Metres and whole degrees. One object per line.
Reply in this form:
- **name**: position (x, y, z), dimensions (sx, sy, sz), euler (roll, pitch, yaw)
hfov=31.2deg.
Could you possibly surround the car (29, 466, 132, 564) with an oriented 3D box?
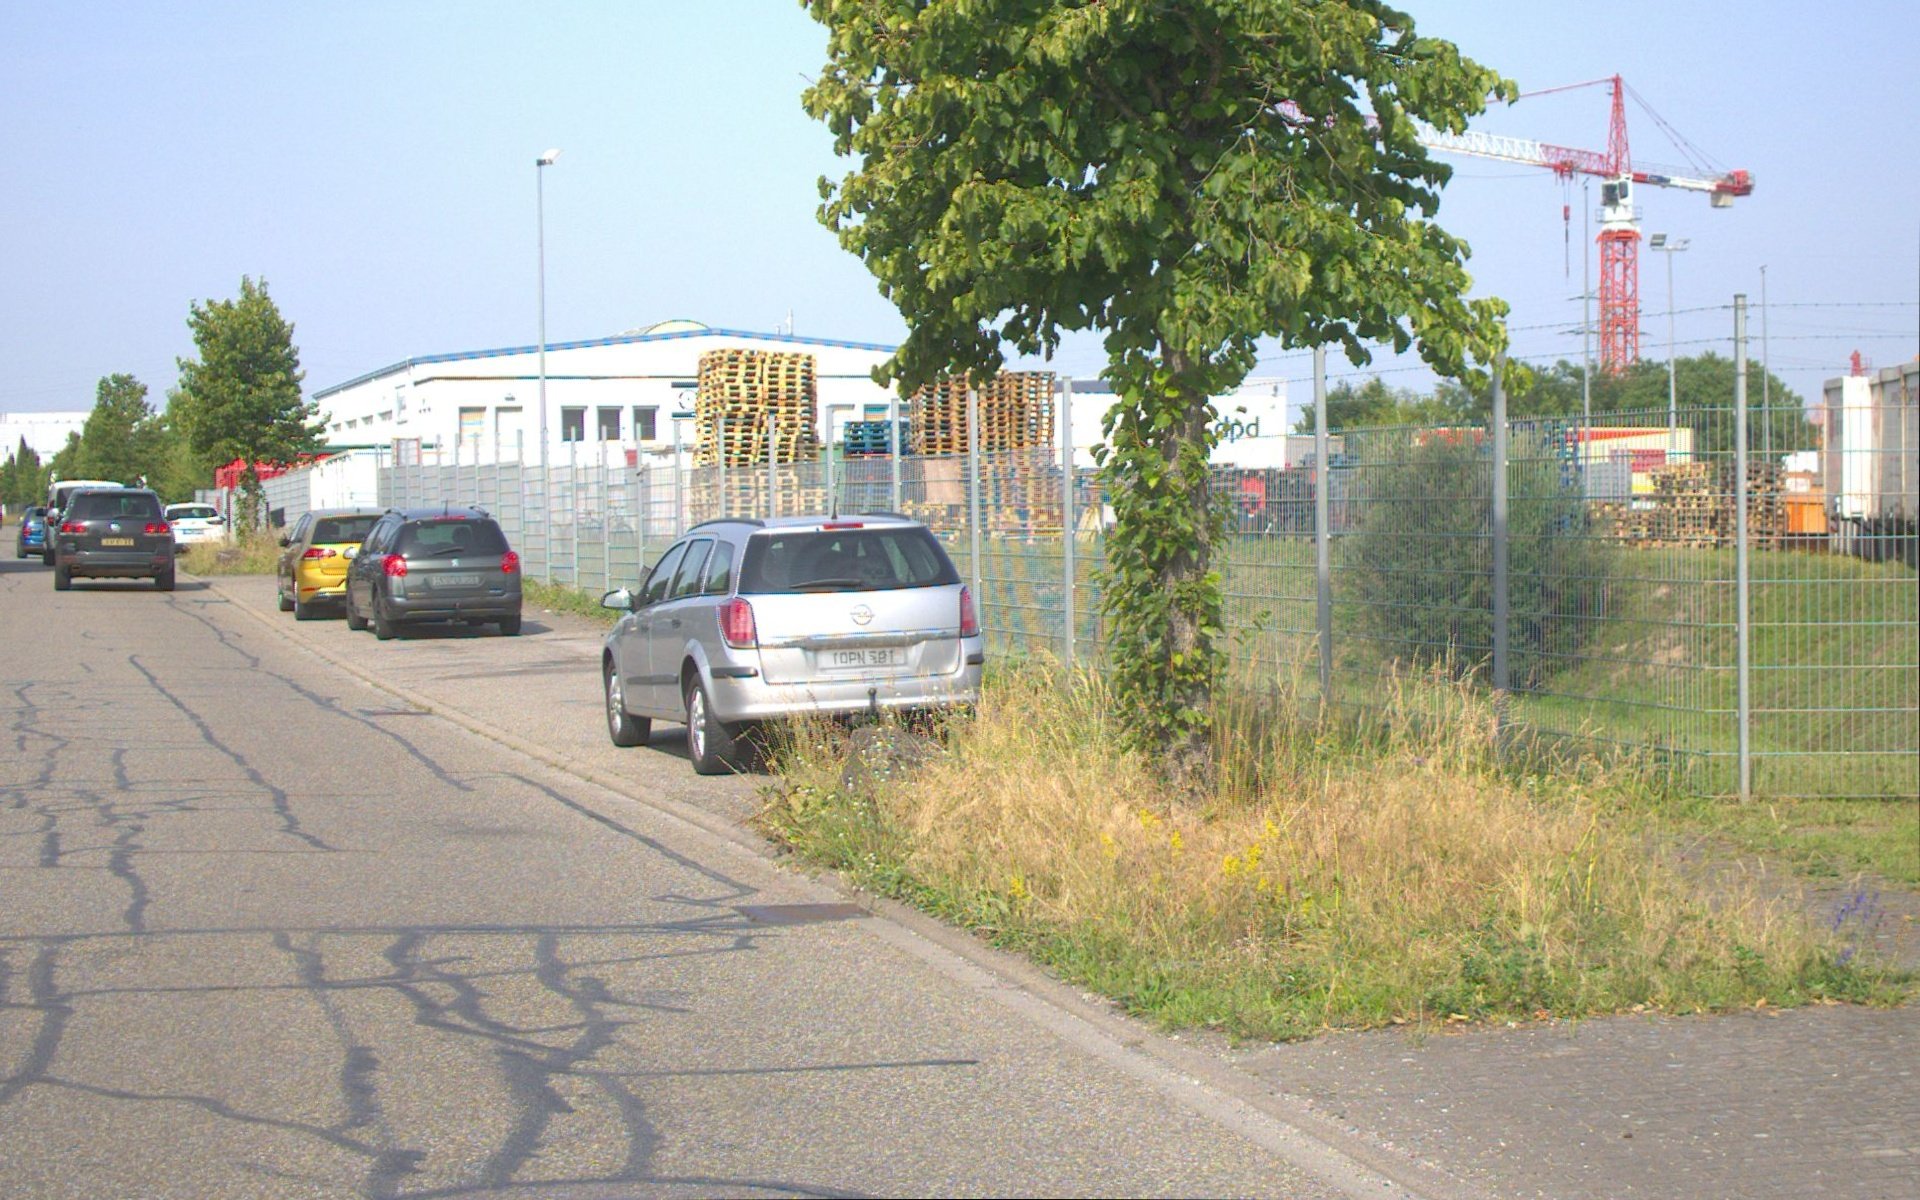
- **car**: position (-19.450, -1.883, 76.131), dimensions (2.120, 2.103, 4.626), euler (-1, 1, -14)

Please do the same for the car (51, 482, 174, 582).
- **car**: position (-13.954, -1.136, 56.752), dimensions (1.880, 1.581, 4.115), euler (-1, 1, -13)

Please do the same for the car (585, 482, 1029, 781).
- **car**: position (-1.088, 0.102, 21.749), dimensions (1.798, 1.620, 4.451), euler (-3, 2, -15)

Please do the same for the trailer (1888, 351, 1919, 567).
- **trailer**: position (21.333, -2.473, 62.704), dimensions (7.963, 3.880, 2.776), euler (2, 3, 4)

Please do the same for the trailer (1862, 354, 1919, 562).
- **trailer**: position (21.612, -2.608, 65.626), dimensions (7.963, 3.880, 2.776), euler (2, 3, 4)

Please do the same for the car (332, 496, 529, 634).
- **car**: position (-6.422, -0.468, 41.401), dimensions (1.714, 1.510, 4.005), euler (-3, 2, -17)

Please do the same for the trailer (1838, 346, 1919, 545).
- **trailer**: position (21.909, -2.993, 68.678), dimensions (7.963, 3.880, 2.743), euler (2, 3, 4)

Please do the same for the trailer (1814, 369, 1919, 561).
- **trailer**: position (22.172, -2.741, 71.709), dimensions (7.963, 3.880, 2.743), euler (2, 3, 4)

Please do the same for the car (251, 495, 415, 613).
- **car**: position (-8.525, -0.658, 46.521), dimensions (1.714, 1.450, 4.189), euler (-3, 2, -16)
